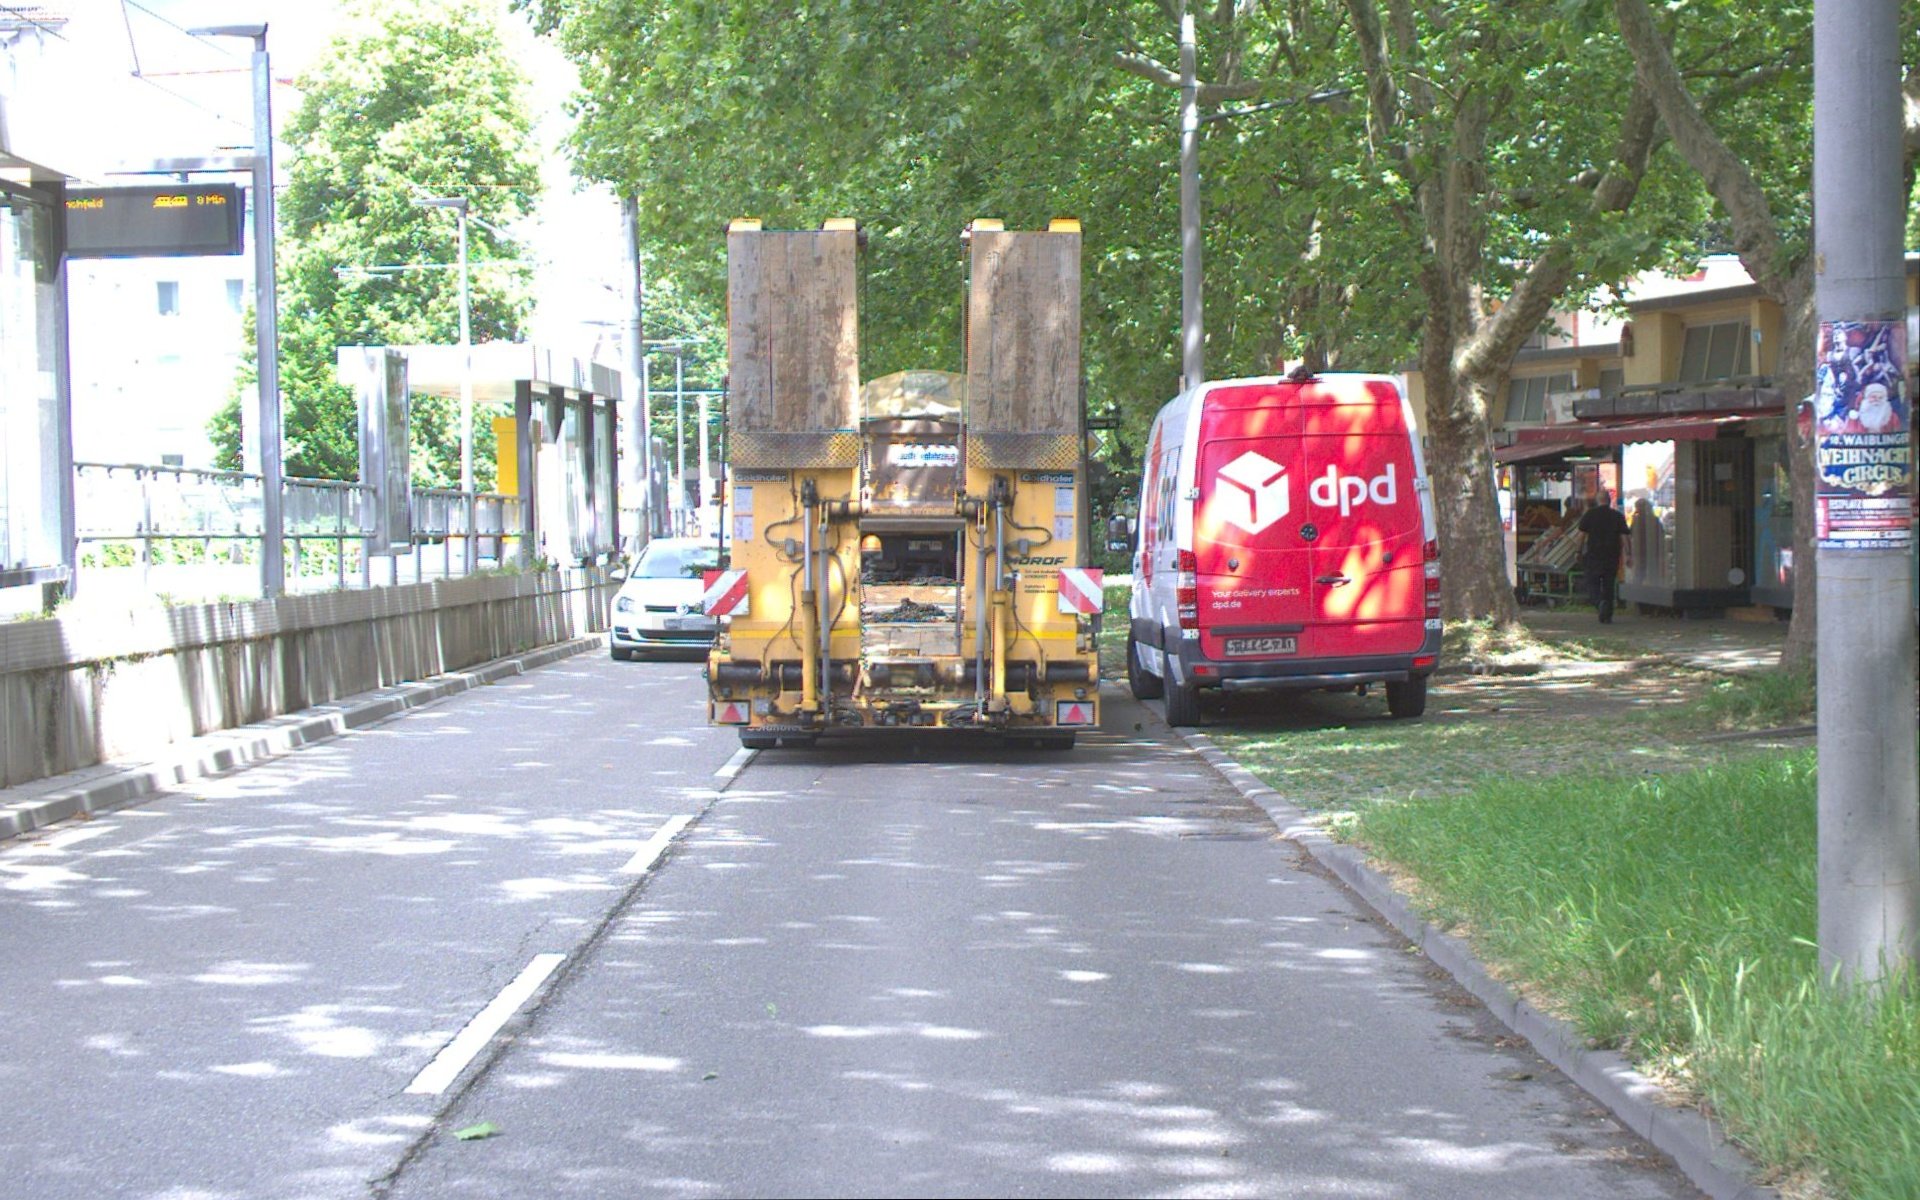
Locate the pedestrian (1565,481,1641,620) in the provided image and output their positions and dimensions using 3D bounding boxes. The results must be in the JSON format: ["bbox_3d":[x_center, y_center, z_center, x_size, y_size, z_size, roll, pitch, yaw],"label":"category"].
[{"bbox_3d":[8.144,-0.626,43.565,0.759,1.719,0.659,-2,1,-4],"label":"pedestrian"}]

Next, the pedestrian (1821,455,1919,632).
[{"bbox_3d":[9.505,-0.582,35.588,0.925,1.795,0.604,-1,0,44],"label":"pedestrian"}]

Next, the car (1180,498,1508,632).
[{"bbox_3d":[4.856,-0.452,43.692,3.828,1.557,1.620,-2,1,-7],"label":"car"}]

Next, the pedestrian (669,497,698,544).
[{"bbox_3d":[-10.957,-3.157,136.147,0.885,1.860,0.837,0,1,-29],"label":"pedestrian"}]

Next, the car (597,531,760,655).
[{"bbox_3d":[-3.330,-0.115,41.155,1.732,1.391,3.752,1,1,-2],"label":"car"}]

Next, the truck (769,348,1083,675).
[{"bbox_3d":[-0.279,-0.930,36.918,2.989,3.124,7.888,0,1,1],"label":"truck"}]

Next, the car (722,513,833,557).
[{"bbox_3d":[-8.879,-3.158,166.946,5.088,2.095,1.977,0,1,-14],"label":"car"}]

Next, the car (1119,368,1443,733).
[{"bbox_3d":[2.477,-0.424,28.265,1.904,2.572,6.834,-2,1,0],"label":"car"}]

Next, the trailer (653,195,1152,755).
[{"bbox_3d":[-0.315,-0.912,27.423,3.154,3.540,11.097,0,1,1],"label":"trailer"}]
